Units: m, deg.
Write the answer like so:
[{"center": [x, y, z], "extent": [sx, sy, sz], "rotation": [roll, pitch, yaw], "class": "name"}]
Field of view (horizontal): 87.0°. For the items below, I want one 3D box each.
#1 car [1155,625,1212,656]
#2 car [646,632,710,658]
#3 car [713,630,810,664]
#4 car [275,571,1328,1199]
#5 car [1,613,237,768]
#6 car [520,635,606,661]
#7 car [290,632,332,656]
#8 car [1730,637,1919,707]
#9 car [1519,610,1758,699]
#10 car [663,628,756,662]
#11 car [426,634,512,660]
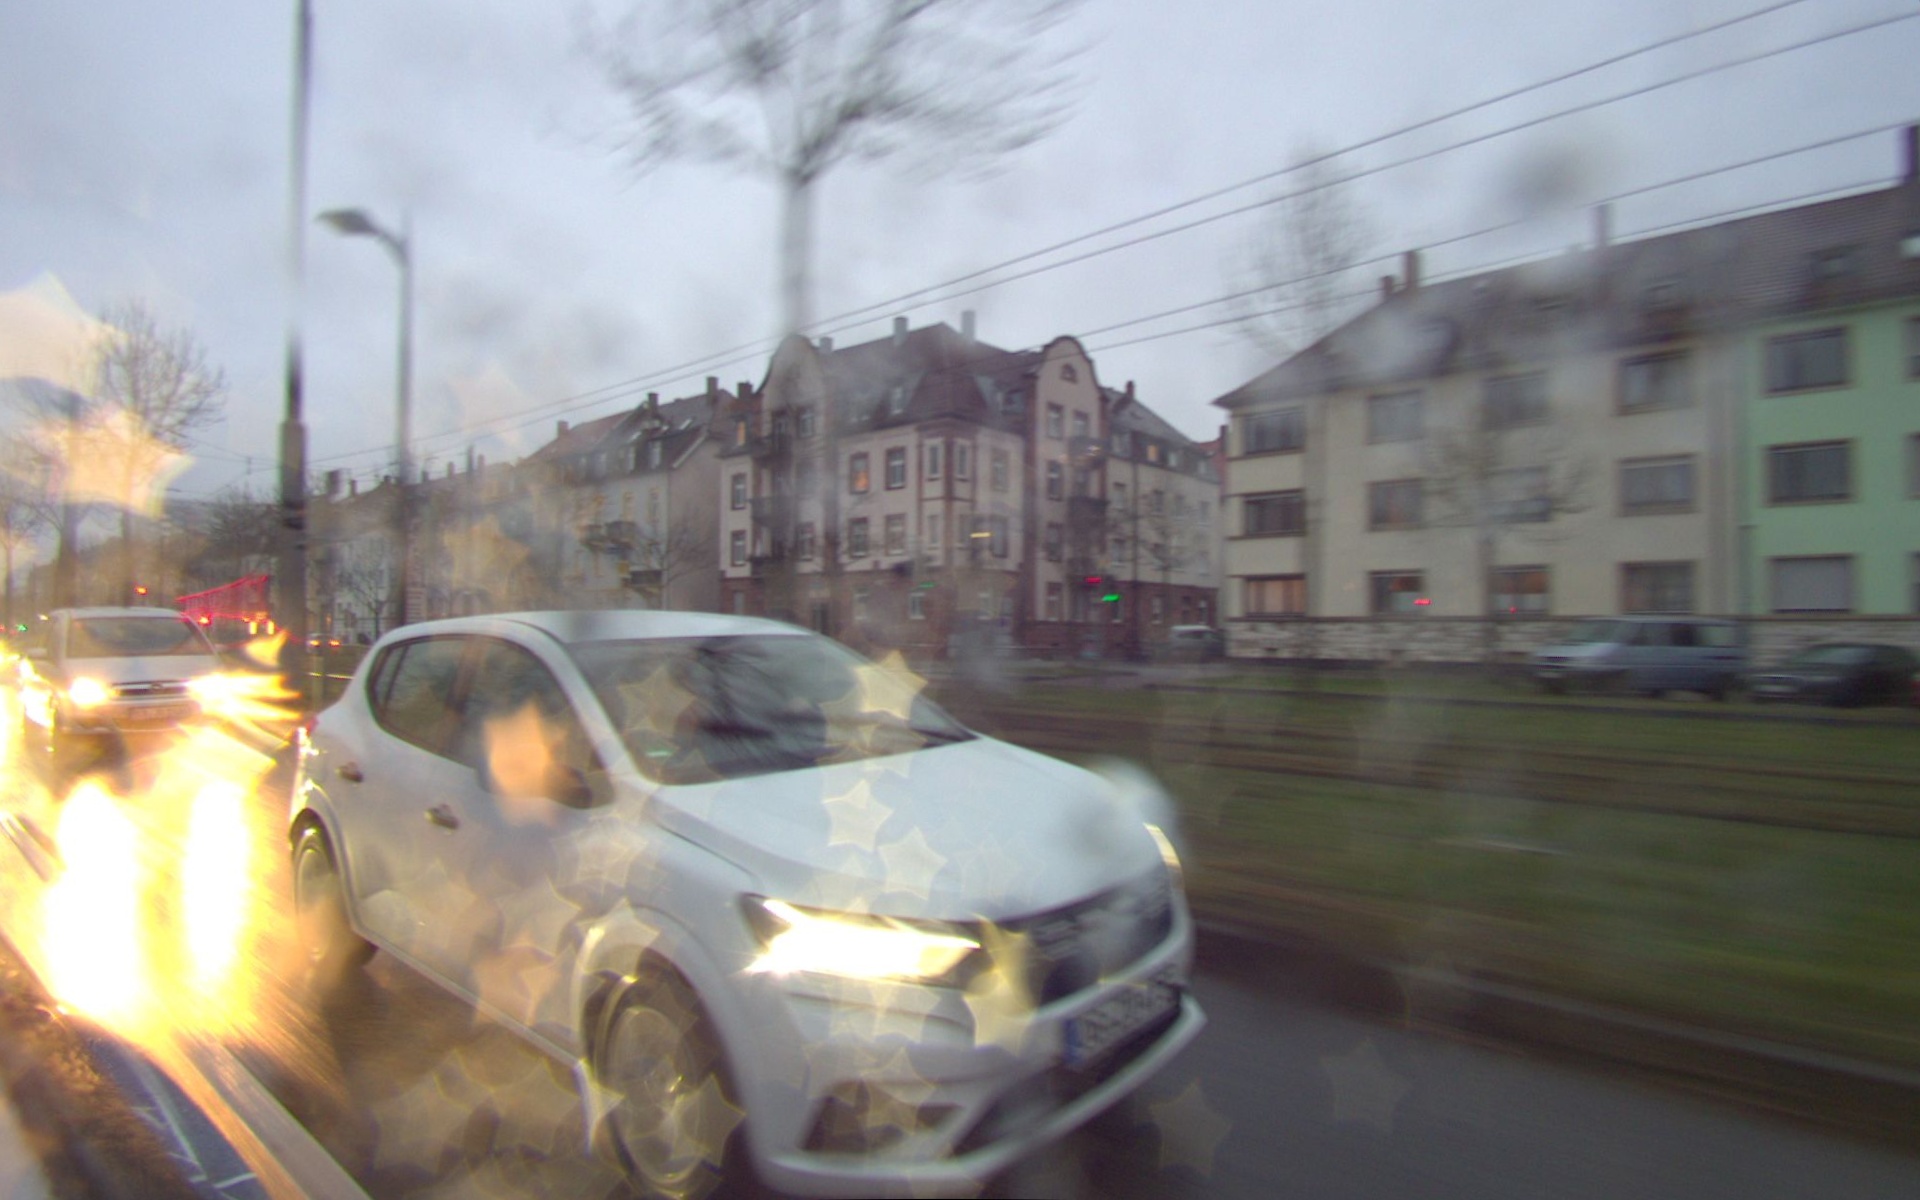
[{"center": [13.472, 2.409, 60.884], "extent": [1.803, 1.721, 3.656], "rotation": [-2, -1, 42], "class": "car"}, {"center": [-13.435, 2.138, 48.387], "extent": [2.870, 0.997, 1.800], "rotation": [-3, 2, -14], "class": "car"}, {"center": [-8.674, 2.020, 44.285], "extent": [4.039, 1.169, 1.716], "rotation": [-3, 2, -10], "class": "car"}, {"center": [-0.963, 0.723, 3.707], "extent": [4.000, 1.485, 1.670], "rotation": [-1, -1, 42], "class": "car"}, {"center": [-10.139, 0.956, 12.099], "extent": [3.906, 1.531, 1.617], "rotation": [-1, -1, 42], "class": "car"}, {"center": [-22.429, 2.707, 57.307], "extent": [4.198, 1.267, 1.836], "rotation": [-1, 0, -8], "class": "car"}, {"center": [-45.146, 3.046, 70.403], "extent": [3.783, 1.516, 1.529], "rotation": [-1, -1, 42], "class": "car"}, {"center": [17.579, 1.389, 20.184], "extent": [3.511, 1.149, 1.742], "rotation": [-1, 0, -16], "class": "car"}, {"center": [15.226, 1.162, 22.760], "extent": [4.580, 1.736, 1.838], "rotation": [-1, 0, -15], "class": "car"}, {"center": [-11.393, 2.019, 46.172], "extent": [3.978, 1.239, 1.352], "rotation": [-3, 2, -12], "class": "car"}, {"center": [-30.610, 2.901, 63.224], "extent": [4.586, 1.443, 1.698], "rotation": [-1, 0, -12], "class": "car"}]
